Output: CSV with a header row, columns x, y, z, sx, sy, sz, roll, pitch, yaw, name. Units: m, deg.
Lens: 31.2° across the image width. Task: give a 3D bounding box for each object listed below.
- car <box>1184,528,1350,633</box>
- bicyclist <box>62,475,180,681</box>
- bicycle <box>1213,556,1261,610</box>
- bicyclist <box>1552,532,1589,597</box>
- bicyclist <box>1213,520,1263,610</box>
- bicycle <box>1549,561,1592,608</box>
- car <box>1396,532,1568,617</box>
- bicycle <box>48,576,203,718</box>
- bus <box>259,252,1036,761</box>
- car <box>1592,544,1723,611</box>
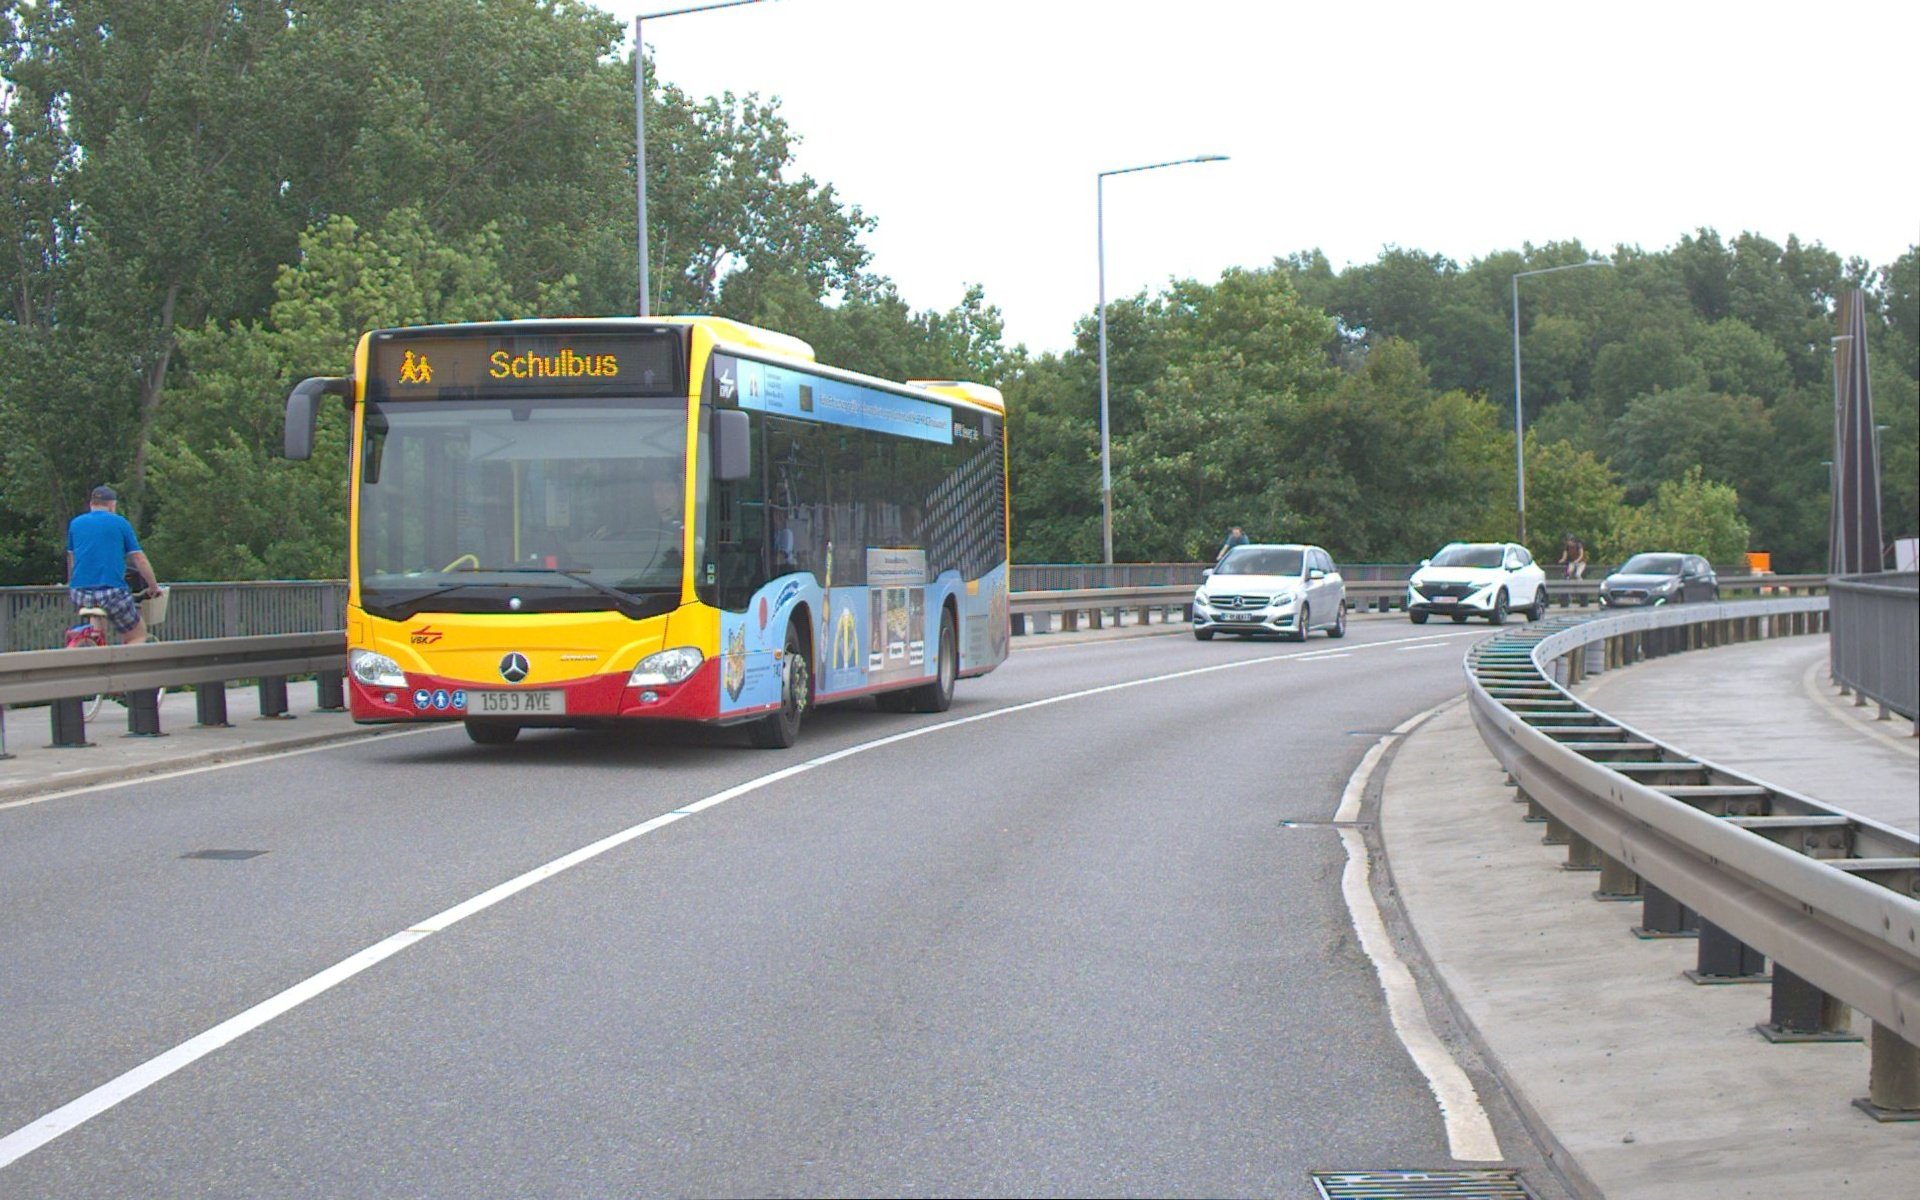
x,y,z,sx,sy,sz,roll,pitch,yaw,name
5.026,-0.321,55.839,1.819,1.614,4.394,1,1,17,car
-6.388,-0.167,26.195,0.610,1.535,0.757,1,0,9,bicyclist
5.632,-0.348,69.852,0.646,1.064,1.760,1,1,16,bicycle
15.680,-0.911,88.307,0.772,1.626,0.648,1,-1,26,bicyclist
5.647,-0.715,69.889,0.849,1.802,0.796,1,0,16,bicyclist
15.690,-0.394,88.328,0.635,1.170,1.904,1,1,23,bicycle
10.435,-0.498,68.399,1.943,1.588,4.766,1,1,27,car
-6.367,0.339,26.323,0.492,1.042,1.809,1,1,8,bicycle
-1.900,-0.662,28.448,3.033,3.222,12.945,1,1,10,bus
16.060,-0.512,79.015,1.811,1.472,4.376,1,1,27,car
